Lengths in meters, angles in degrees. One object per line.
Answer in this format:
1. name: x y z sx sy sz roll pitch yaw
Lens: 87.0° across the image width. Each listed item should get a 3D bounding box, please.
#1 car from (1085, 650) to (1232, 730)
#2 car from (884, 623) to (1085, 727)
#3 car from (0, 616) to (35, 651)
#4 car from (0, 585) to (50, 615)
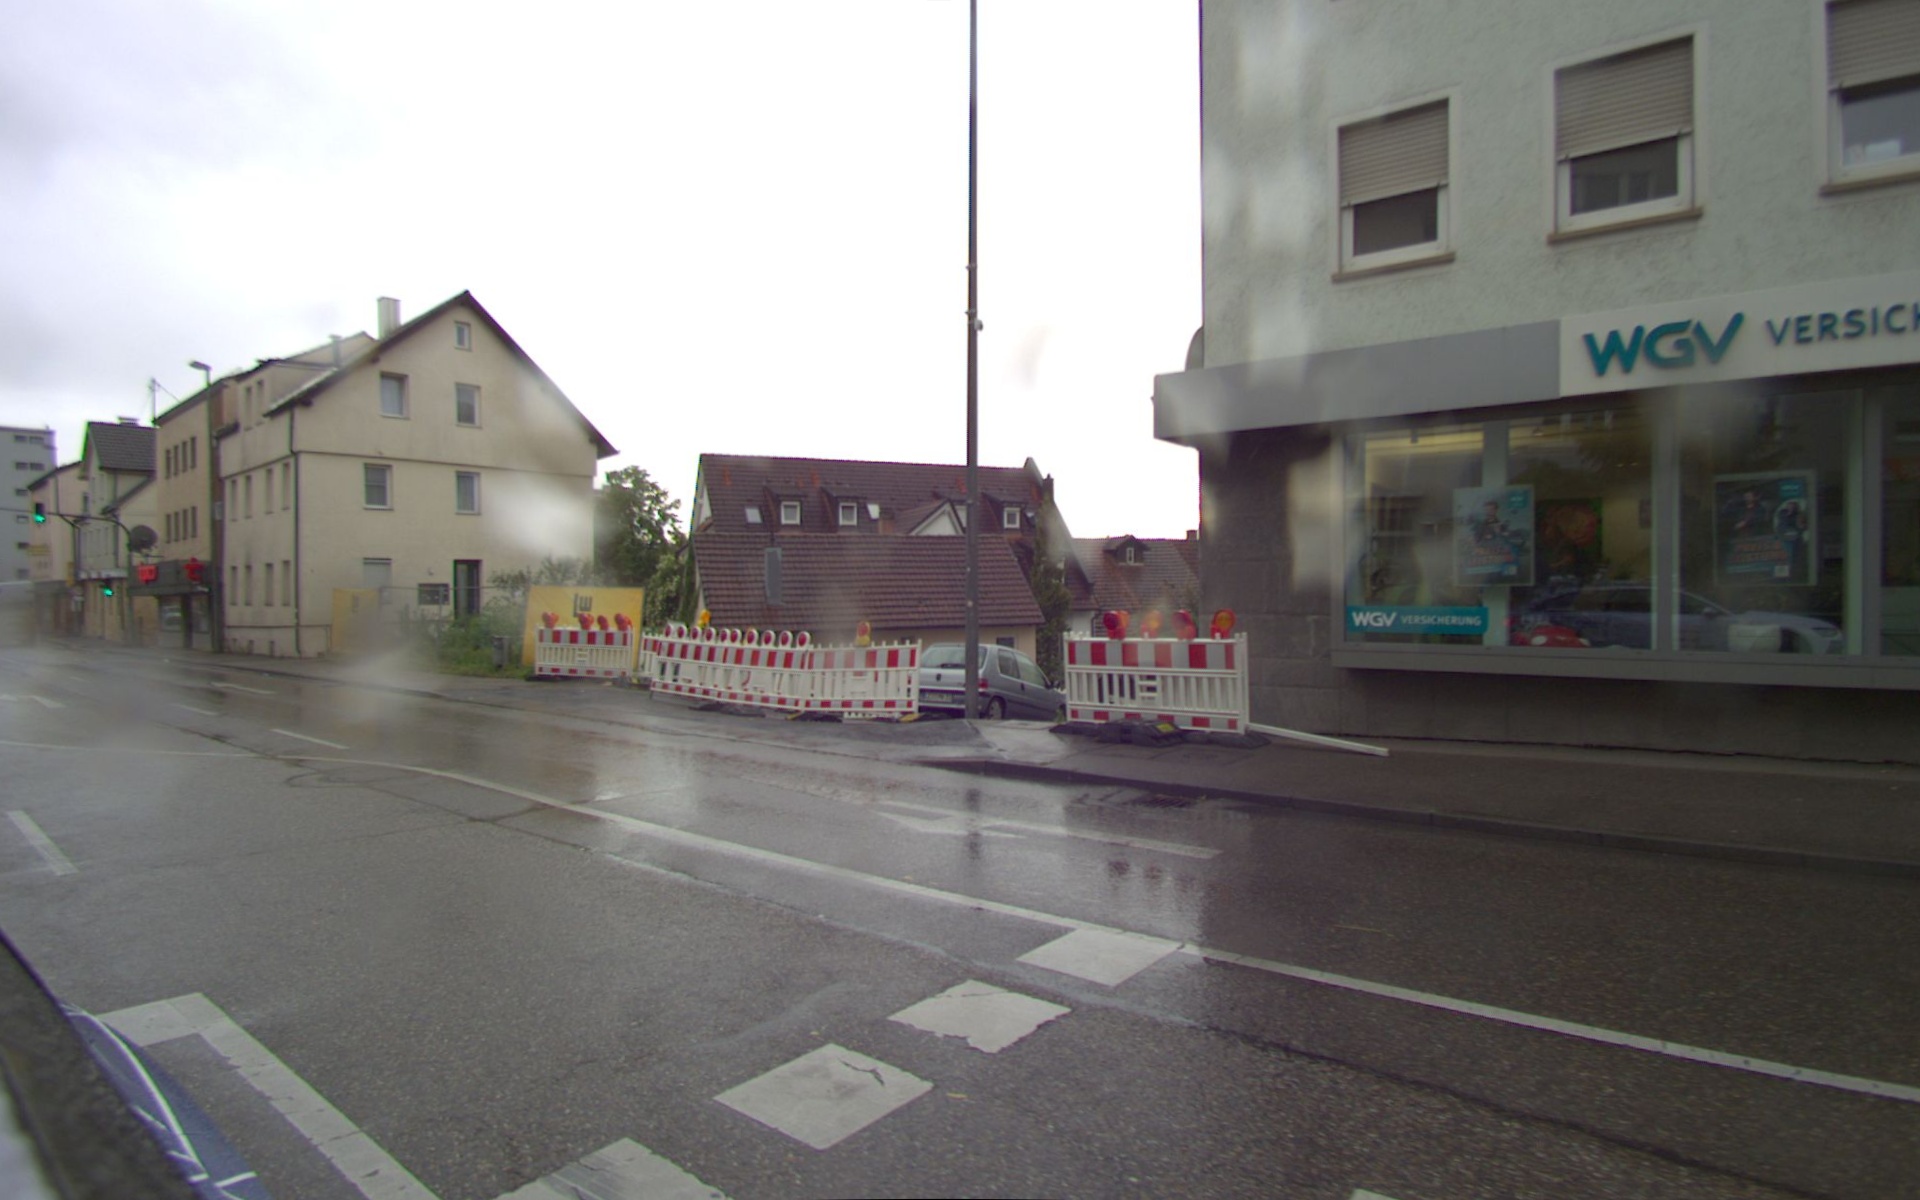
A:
1. car: 3.819 1.764 19.142 1.496 1.321 3.416 -4 -9 34
2. car: 0.493 1.270 16.075 1.646 1.401 3.471 -3 -9 32
3. car: -45.190 1.592 47.884 4.276 1.583 1.796 -1 -1 44
4. car: -86.928 0.037 91.693 2.645 2.539 6.406 -2 1 8
